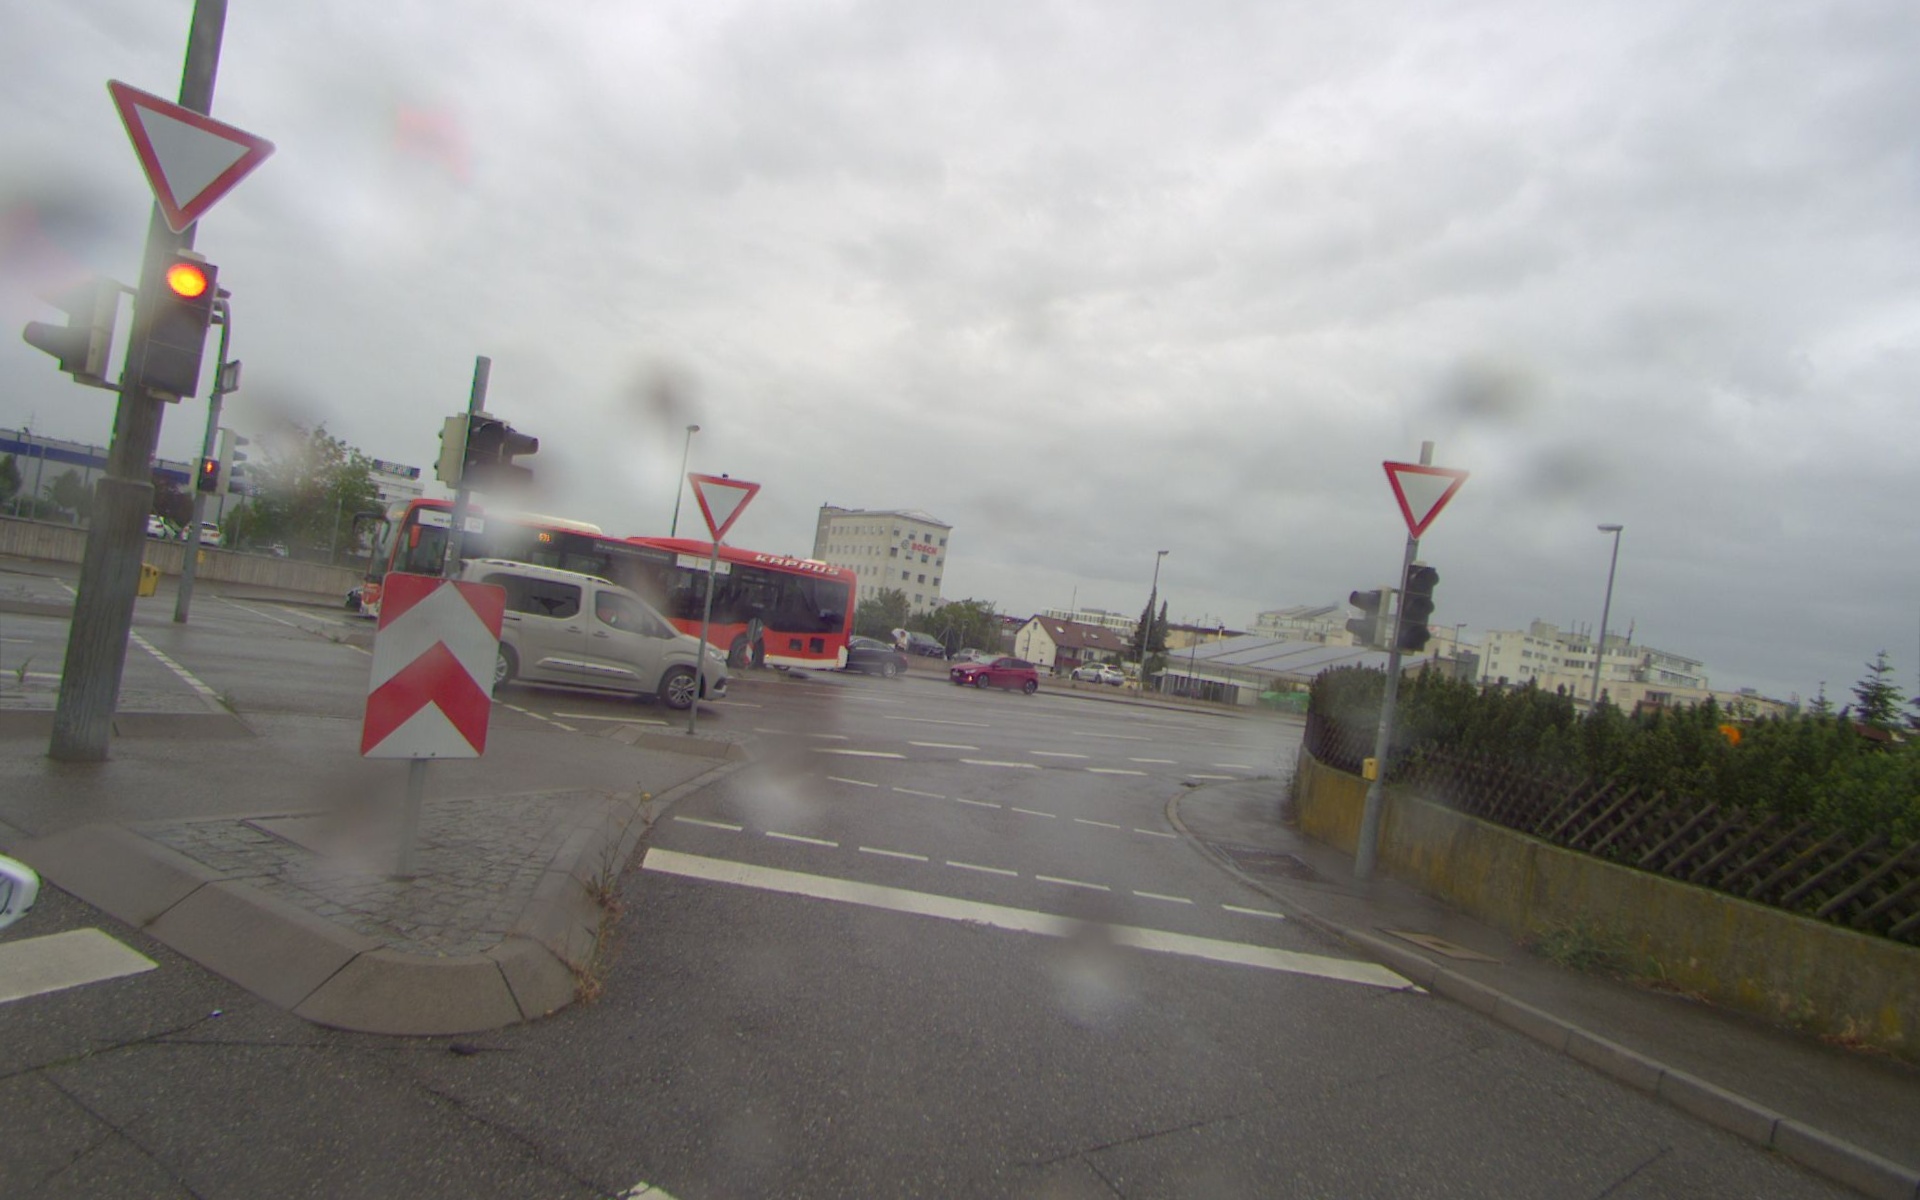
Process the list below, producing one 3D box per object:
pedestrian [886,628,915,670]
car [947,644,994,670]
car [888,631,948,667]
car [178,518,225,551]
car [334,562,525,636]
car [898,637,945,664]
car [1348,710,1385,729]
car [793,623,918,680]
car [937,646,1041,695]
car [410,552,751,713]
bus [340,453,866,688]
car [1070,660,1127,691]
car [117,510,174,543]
[{"bbox_3d":[-2.642,2.181,44.680,0.819,1.723,0.893,8,-1,-30],"label":"pedestrian"},{"bbox_3d":[0.810,4.714,83.646,1.980,1.636,3.970,9,-2,-30],"label":"car"},{"bbox_3d":[-2.608,2.991,61.632,1.912,1.684,3.869,9,-2,-29],"label":"car"},{"bbox_3d":[-43.842,-3.747,58.214,1.847,1.543,4.066,8,-2,-35],"label":"car"},{"bbox_3d":[-14.842,0.001,28.281,4.367,1.370,1.804,10,-3,-42],"label":"car"},{"bbox_3d":[-3.157,4.096,81.358,1.980,1.636,3.970,9,-2,-30],"label":"car"},{"bbox_3d":[41.330,12.206,102.335,3.616,1.436,1.720,10,-2,-36],"label":"car"},{"bbox_3d":[-3.908,1.990,38.185,4.367,1.555,1.804,10,-3,-42],"label":"car"},{"bbox_3d":[1.255,2.965,42.279,3.948,1.525,1.853,9,-2,-36],"label":"car"},{"bbox_3d":[-5.779,0.531,15.515,4.443,1.865,1.982,9,-2,-34],"label":"car"},{"bbox_3d":[-8.383,-0.343,25.847,12.223,3.614,2.952,12,-4,-41],"label":"bus"},{"bbox_3d":[9.636,5.243,70.116,1.976,1.561,3.977,9,-2,-25],"label":"car"},{"bbox_3d":[-45.629,-4.101,56.446,1.805,1.450,4.071,8,-2,-32],"label":"car"}]
